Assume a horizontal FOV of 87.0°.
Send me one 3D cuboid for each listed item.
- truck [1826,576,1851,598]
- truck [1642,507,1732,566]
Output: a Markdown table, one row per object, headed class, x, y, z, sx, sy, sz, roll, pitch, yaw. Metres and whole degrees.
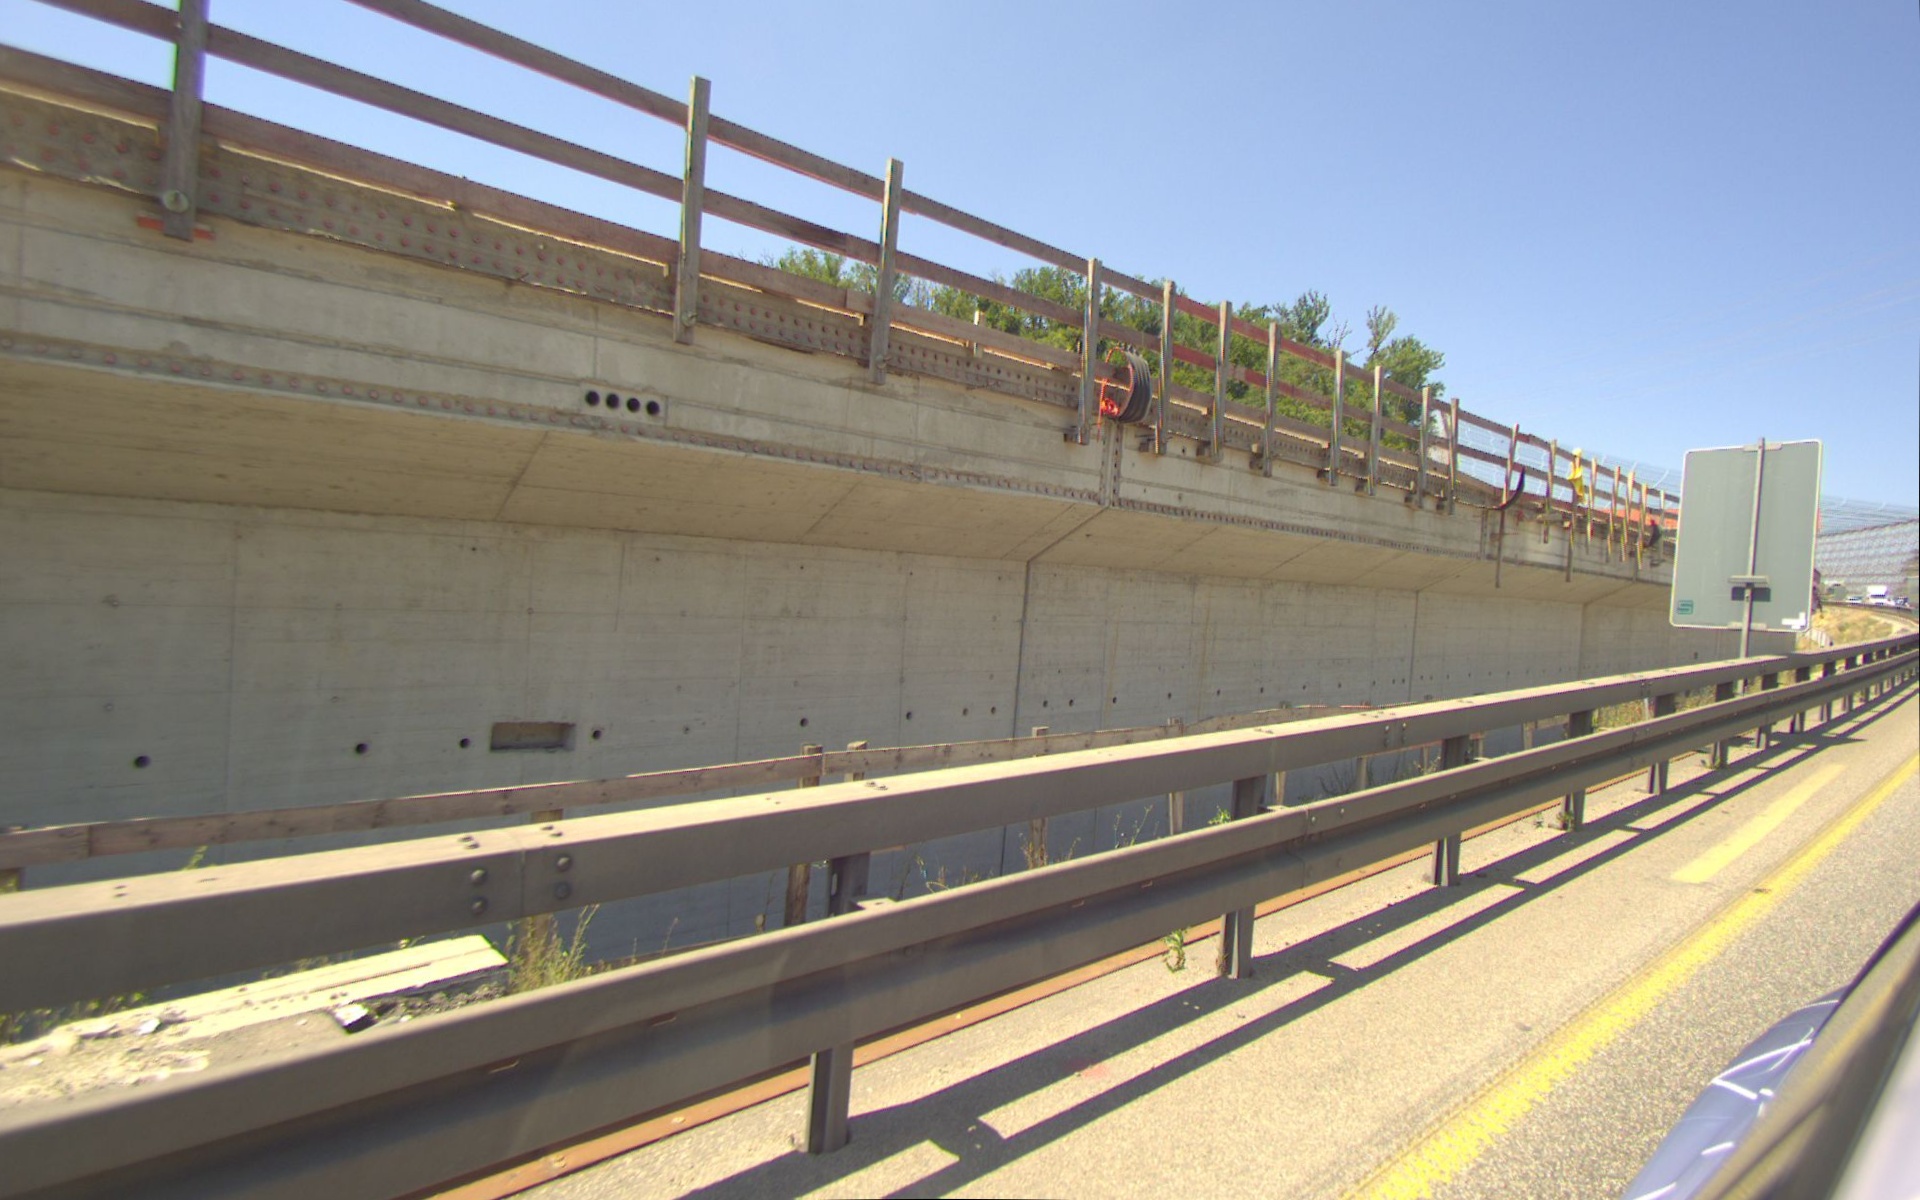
| class | x | y | z | sx | sy | sz | roll | pitch | yaw |
| --- | --- | --- | --- | --- | --- | --- | --- | --- | --- |
| truck | 155.427 | -2.335 | 179.038 | 3.034 | 3.793 | 8.121 | 1 | 1 | 44 |
| truck | 52.897 | -4.555 | 73.628 | 5.591 | 3.741 | 2.725 | 3 | 0 | -23 |
